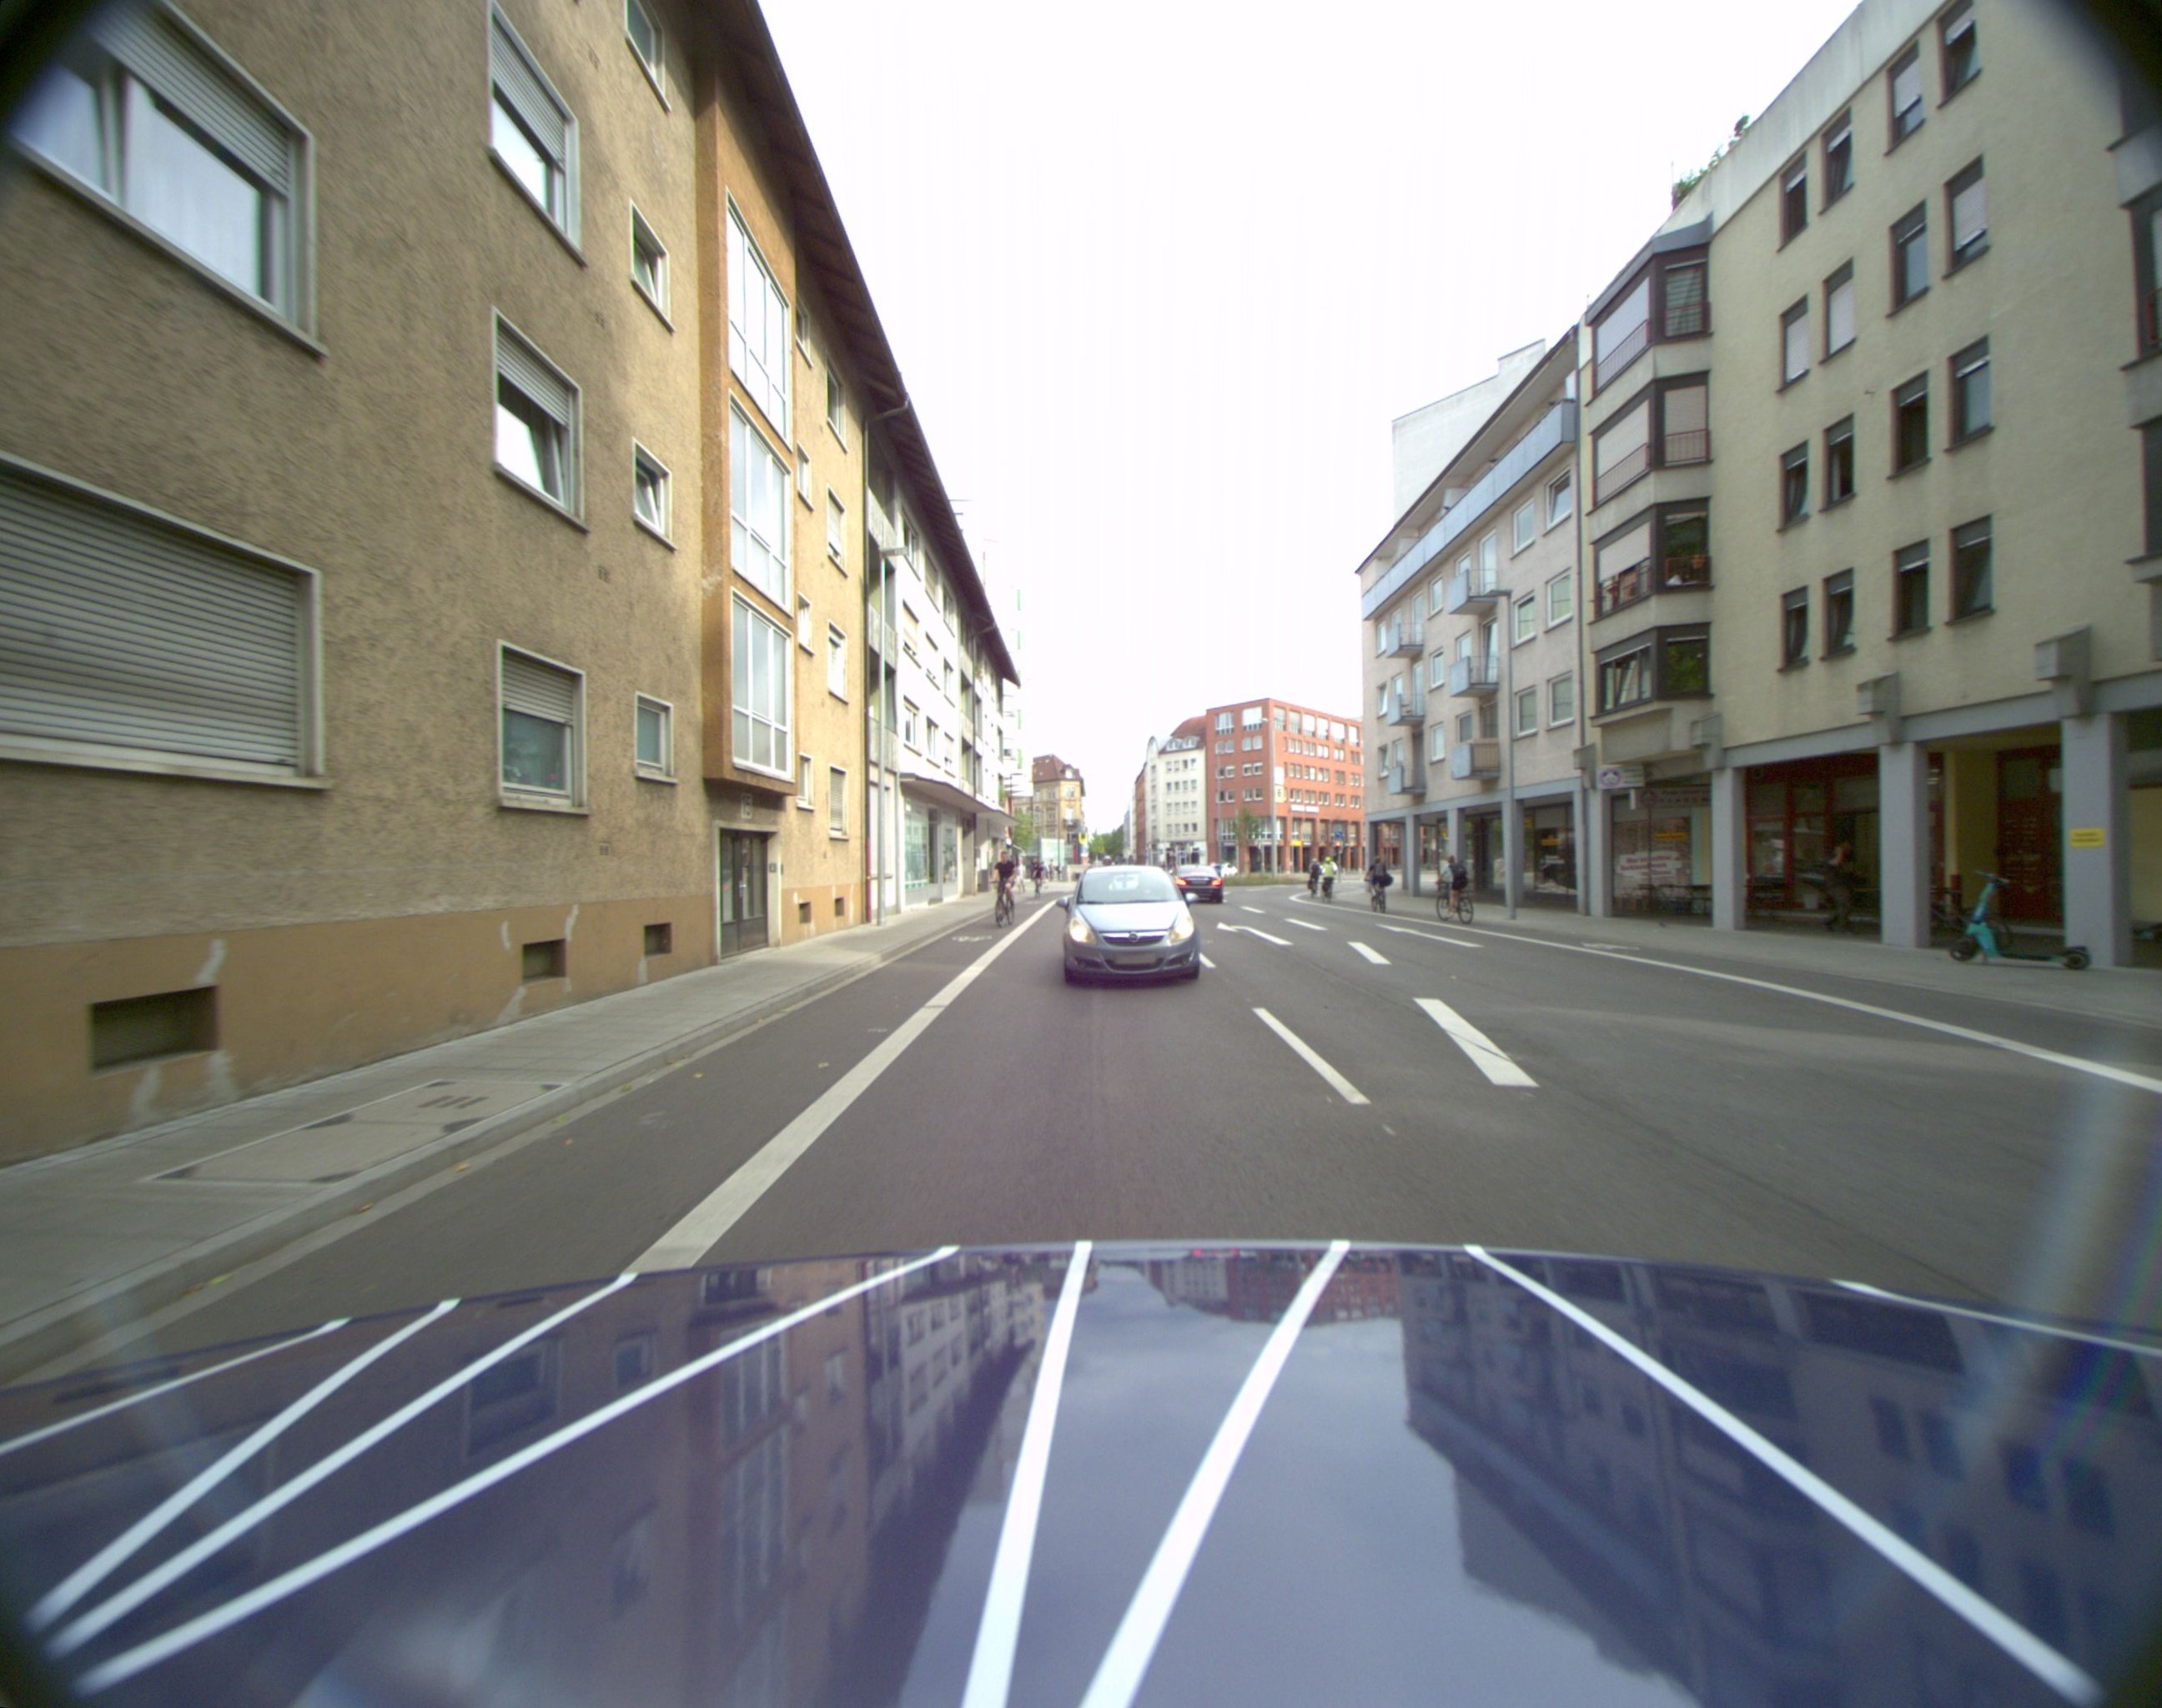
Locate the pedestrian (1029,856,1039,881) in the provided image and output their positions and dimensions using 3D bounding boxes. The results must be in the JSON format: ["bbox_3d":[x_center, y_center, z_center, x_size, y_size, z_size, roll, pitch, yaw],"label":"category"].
[{"bbox_3d":[-3.653,1.133,59.652,0.673,1.892,0.590,2,0,2],"label":"pedestrian"}]

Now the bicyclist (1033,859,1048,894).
[{"bbox_3d":[-1.920,1.068,35.998,0.613,1.593,0.847,-2,-2,-4],"label":"bicyclist"}]

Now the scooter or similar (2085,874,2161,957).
[{"bbox_3d":[15.904,0.910,11.326,0.287,1.194,1.176,-1,0,-2],"label":"scooter or similar"}]

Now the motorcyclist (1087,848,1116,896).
[{"bbox_3d":[0.657,0.590,24.555,0.872,1.507,1.044,-1,0,-2],"label":"motorcyclist"}]

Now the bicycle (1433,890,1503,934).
[{"bbox_3d":[9.647,1.422,19.040,0.739,1.000,2.196,-2,-2,4],"label":"bicycle"}]

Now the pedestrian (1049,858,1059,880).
[{"bbox_3d":[-2.312,1.278,65.649,0.657,1.841,0.971,2,0,4],"label":"pedestrian"}]

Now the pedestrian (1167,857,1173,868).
[{"bbox_3d":[12.148,1.206,103.844,0.593,1.502,0.629,-1,-1,-7],"label":"pedestrian"}]

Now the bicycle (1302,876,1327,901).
[{"bbox_3d":[10.675,1.582,34.768,0.739,1.001,1.909,-1,1,6],"label":"bicycle"}]

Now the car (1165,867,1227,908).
[{"bbox_3d":[4.335,1.237,29.205,1.815,1.399,4.609,-1,0,2],"label":"car"}]

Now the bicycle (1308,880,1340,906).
[{"bbox_3d":[9.773,1.550,30.654,0.739,1.000,2.253,-2,-2,5],"label":"bicycle"}]

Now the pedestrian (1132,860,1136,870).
[{"bbox_3d":[8.878,1.830,127.803,0.540,1.712,0.520,0,1,7],"label":"pedestrian"}]

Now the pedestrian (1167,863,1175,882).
[{"bbox_3d":[9.342,1.903,78.812,0.720,1.959,1.015,2,-1,9],"label":"pedestrian"}]

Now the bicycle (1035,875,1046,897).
[{"bbox_3d":[-1.926,1.509,36.099,0.489,0.994,1.747,-2,-1,-4],"label":"bicycle"}]

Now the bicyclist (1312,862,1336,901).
[{"bbox_3d":[9.803,1.095,30.675,0.658,1.516,0.841,-2,-2,5],"label":"bicyclist"}]

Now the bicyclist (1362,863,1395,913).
[{"bbox_3d":[9.172,1.044,23.446,0.658,1.516,0.857,-2,-2,5],"label":"bicyclist"}]

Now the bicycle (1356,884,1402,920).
[{"bbox_3d":[9.235,1.471,23.616,0.739,1.000,1.977,-2,-2,4],"label":"bicycle"}]

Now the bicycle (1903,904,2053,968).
[{"bbox_3d":[13.762,1.236,11.729,0.430,0.816,1.619,-1,0,2],"label":"bicycle"}]

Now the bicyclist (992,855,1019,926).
[{"bbox_3d":[-1.854,0.886,18.680,0.560,1.699,0.862,-1,0,-1],"label":"bicyclist"}]

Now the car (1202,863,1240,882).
[{"bbox_3d":[12.149,1.608,65.885,1.953,1.592,4.008,-1,0,31],"label":"car"}]

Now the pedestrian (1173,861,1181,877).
[{"bbox_3d":[10.812,1.721,85.322,0.697,1.813,0.567,1,-1,-45],"label":"pedestrian"}]

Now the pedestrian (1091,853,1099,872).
[{"bbox_3d":[1.361,0.862,75.773,0.547,1.855,0.586,-1,-1,41],"label":"pedestrian"}]

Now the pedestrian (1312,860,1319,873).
[{"bbox_3d":[30.543,1.643,98.827,0.601,1.677,0.639,0,-1,-44],"label":"pedestrian"}]

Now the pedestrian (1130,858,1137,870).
[{"bbox_3d":[7.530,1.448,108.816,0.606,1.675,0.732,-4,1,-20],"label":"pedestrian"}]

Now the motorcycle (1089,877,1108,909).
[{"bbox_3d":[0.579,1.226,24.363,0.570,0.962,2.015,-1,-1,2],"label":"motorcycle"}]

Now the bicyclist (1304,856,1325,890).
[{"bbox_3d":[10.665,0.868,34.722,0.658,1.516,1.002,-2,1,5],"label":"bicyclist"}]

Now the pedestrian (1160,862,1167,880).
[{"bbox_3d":[8.542,1.750,78.895,0.675,1.789,0.887,2,-1,8],"label":"pedestrian"}]

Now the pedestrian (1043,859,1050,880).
[{"bbox_3d":[-2.718,1.230,59.646,0.473,1.663,0.590,2,0,2],"label":"pedestrian"}]

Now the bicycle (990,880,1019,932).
[{"bbox_3d":[-1.853,1.242,18.531,0.407,1.115,2.017,-2,0,1],"label":"bicycle"}]

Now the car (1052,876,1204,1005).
[{"bbox_3d":[0.662,1.041,10.644,1.723,1.394,4.002,0,-1,4],"label":"car"}]

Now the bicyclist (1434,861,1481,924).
[{"bbox_3d":[9.430,0.952,19.064,0.658,1.516,1.077,-2,-2,5],"label":"bicyclist"}]

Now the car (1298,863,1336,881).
[{"bbox_3d":[26.601,2.020,85.568,4.007,1.867,1.995,-1,0,-32],"label":"car"}]

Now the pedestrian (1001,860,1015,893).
[{"bbox_3d":[-3.828,1.173,39.846,0.606,1.659,0.944,-1,0,-1],"label":"pedestrian"}]

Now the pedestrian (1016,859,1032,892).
[{"bbox_3d":[-2.981,1.125,39.794,0.753,1.740,0.859,-1,0,0],"label":"pedestrian"}]

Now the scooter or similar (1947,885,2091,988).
[{"bbox_3d":[12.319,1.050,10.007,0.287,1.257,1.174,-1,0,-36],"label":"scooter or similar"}]

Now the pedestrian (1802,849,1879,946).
[{"bbox_3d":[14.209,0.793,14.236,0.582,1.747,0.784,-3,0,1],"label":"pedestrian"}]

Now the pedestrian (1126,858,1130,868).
[{"bbox_3d":[7.954,1.461,128.071,0.591,1.712,0.520,-1,0,7],"label":"pedestrian"}]
